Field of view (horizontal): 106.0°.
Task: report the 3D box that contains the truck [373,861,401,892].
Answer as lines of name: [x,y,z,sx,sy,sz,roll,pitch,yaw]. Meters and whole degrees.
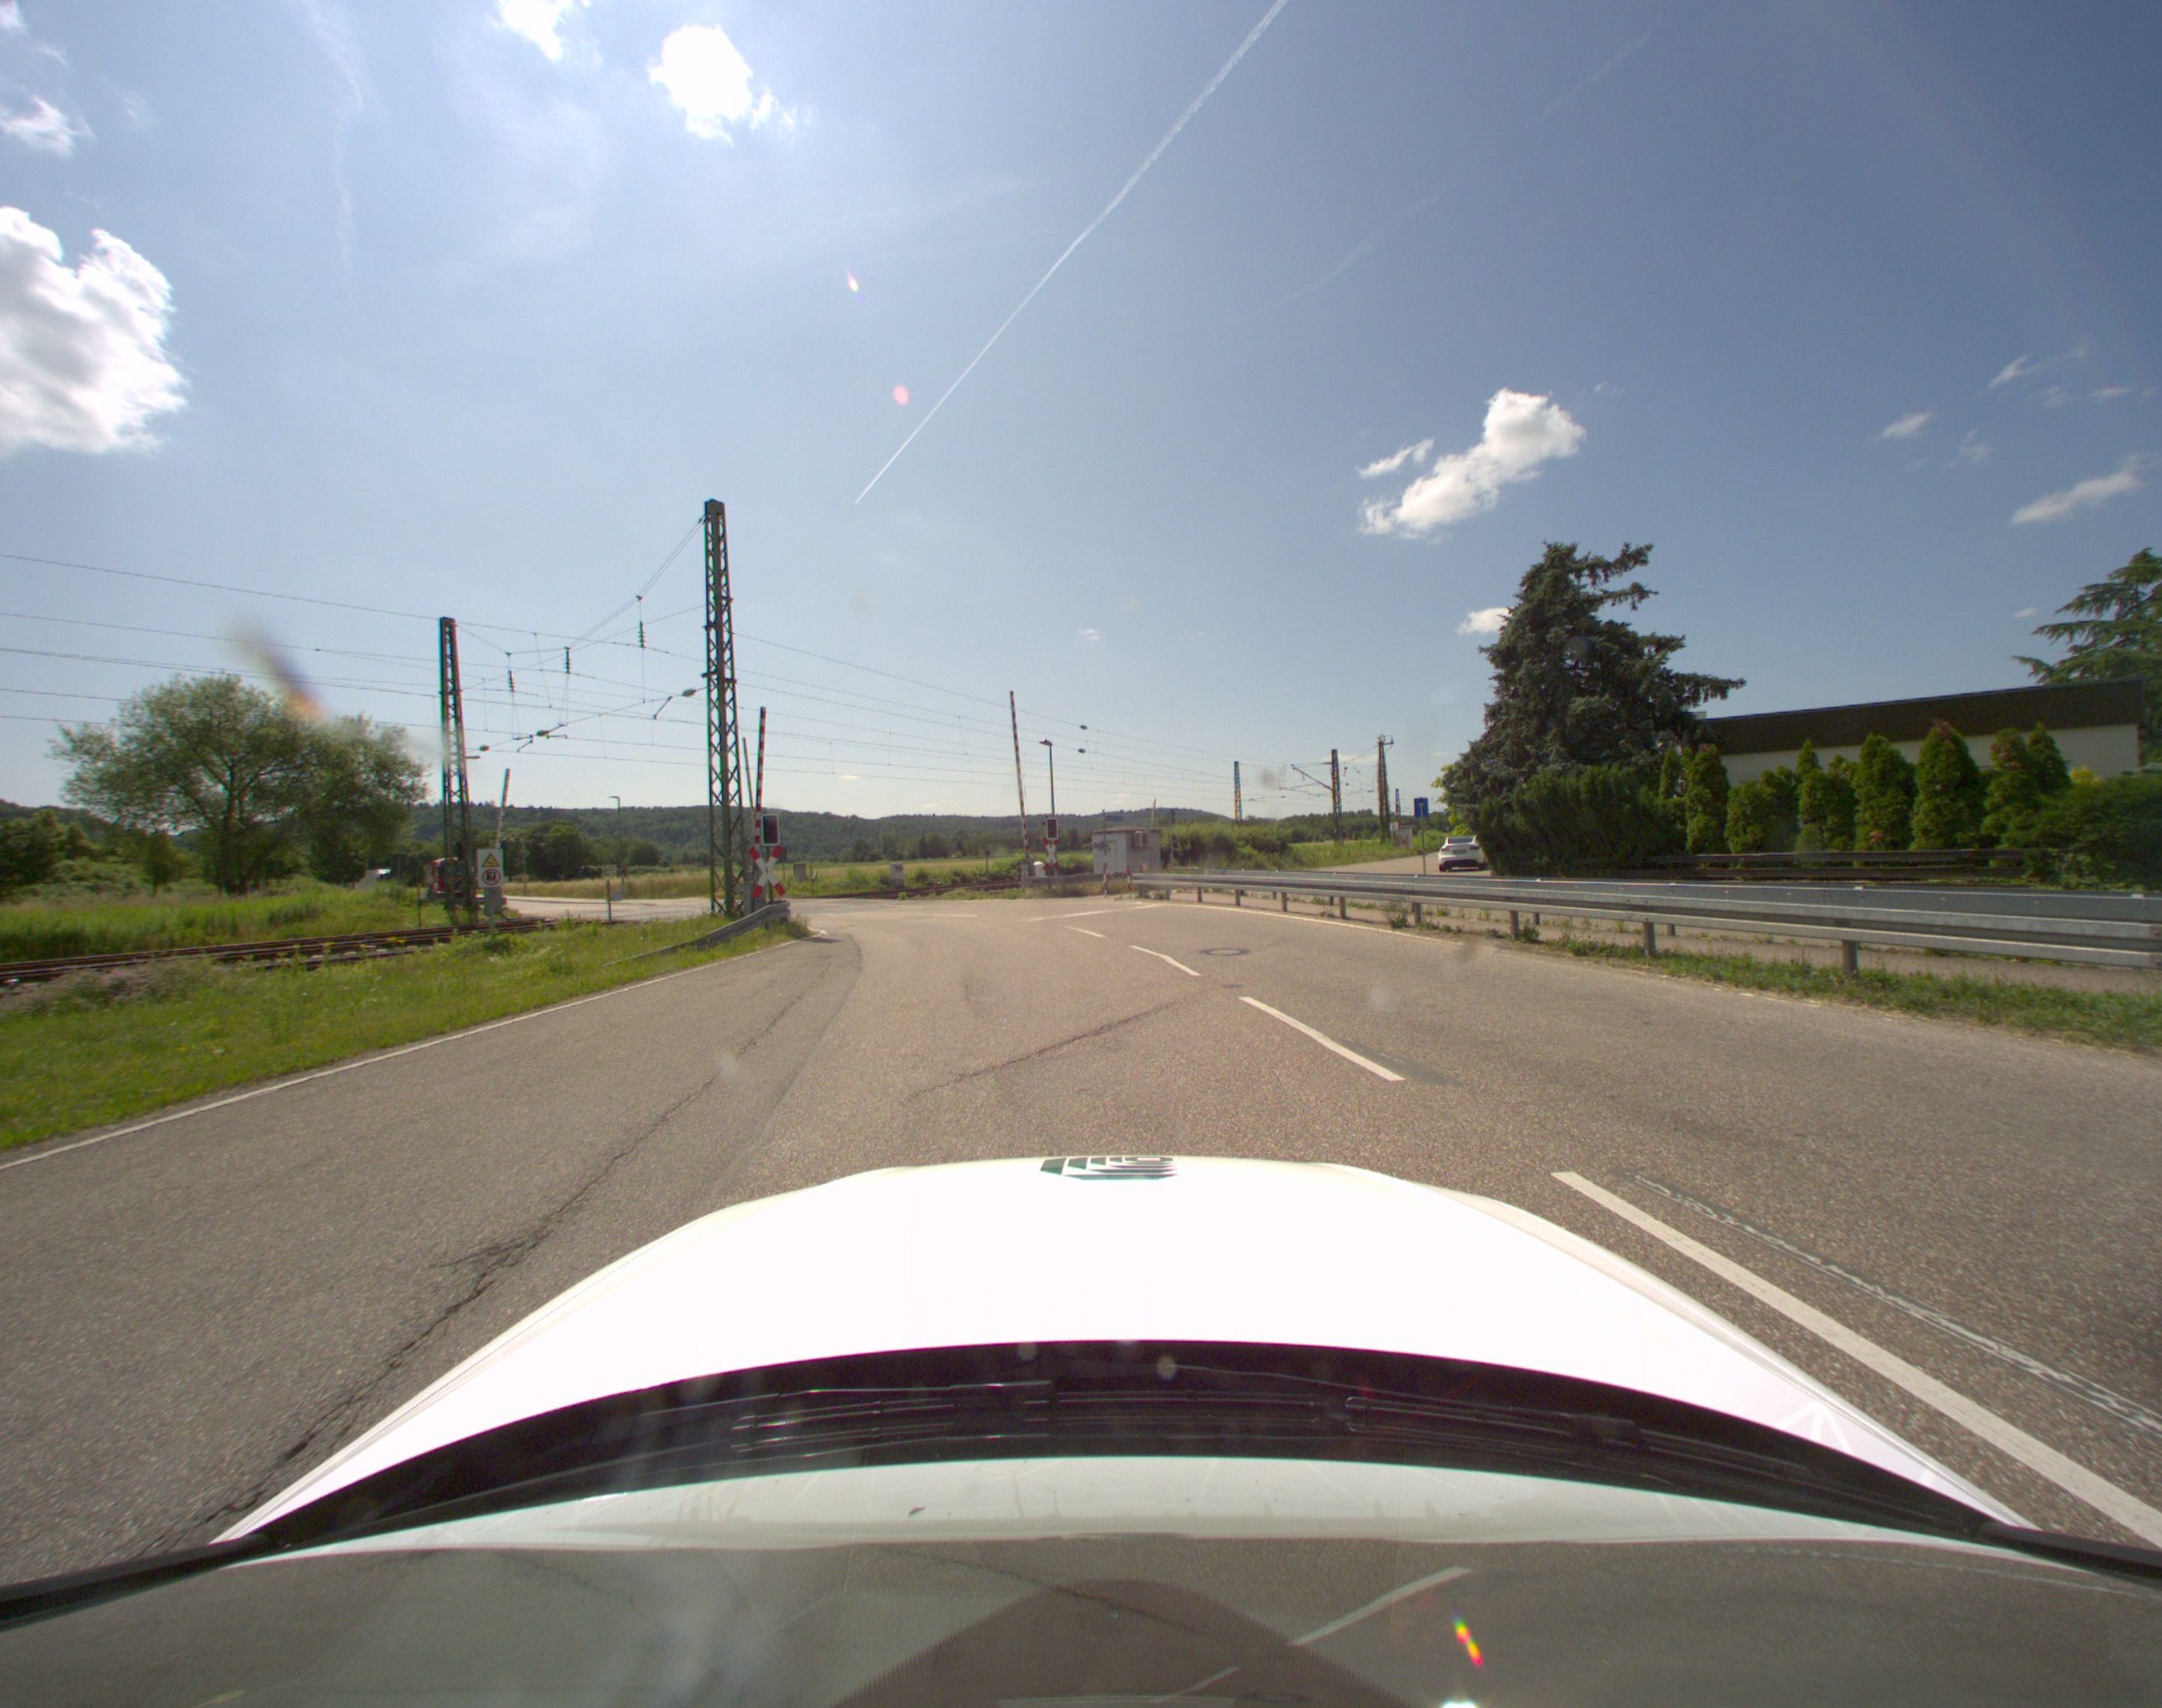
truck: [-94.349,3.109,110.623,2.594,3.948,5.965,-3,0,-42]

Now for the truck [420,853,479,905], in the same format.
truck: [-50.915,2.004,65.521,2.897,3.745,12.002,-2,-1,-42]

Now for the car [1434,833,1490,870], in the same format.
car: [17.674,-0.160,37.637,1.974,1.510,4.482,-2,1,29]

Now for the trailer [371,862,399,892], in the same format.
trailer: [-98.966,3.336,115.745,2.606,3.948,12.900,-3,0,-42]
